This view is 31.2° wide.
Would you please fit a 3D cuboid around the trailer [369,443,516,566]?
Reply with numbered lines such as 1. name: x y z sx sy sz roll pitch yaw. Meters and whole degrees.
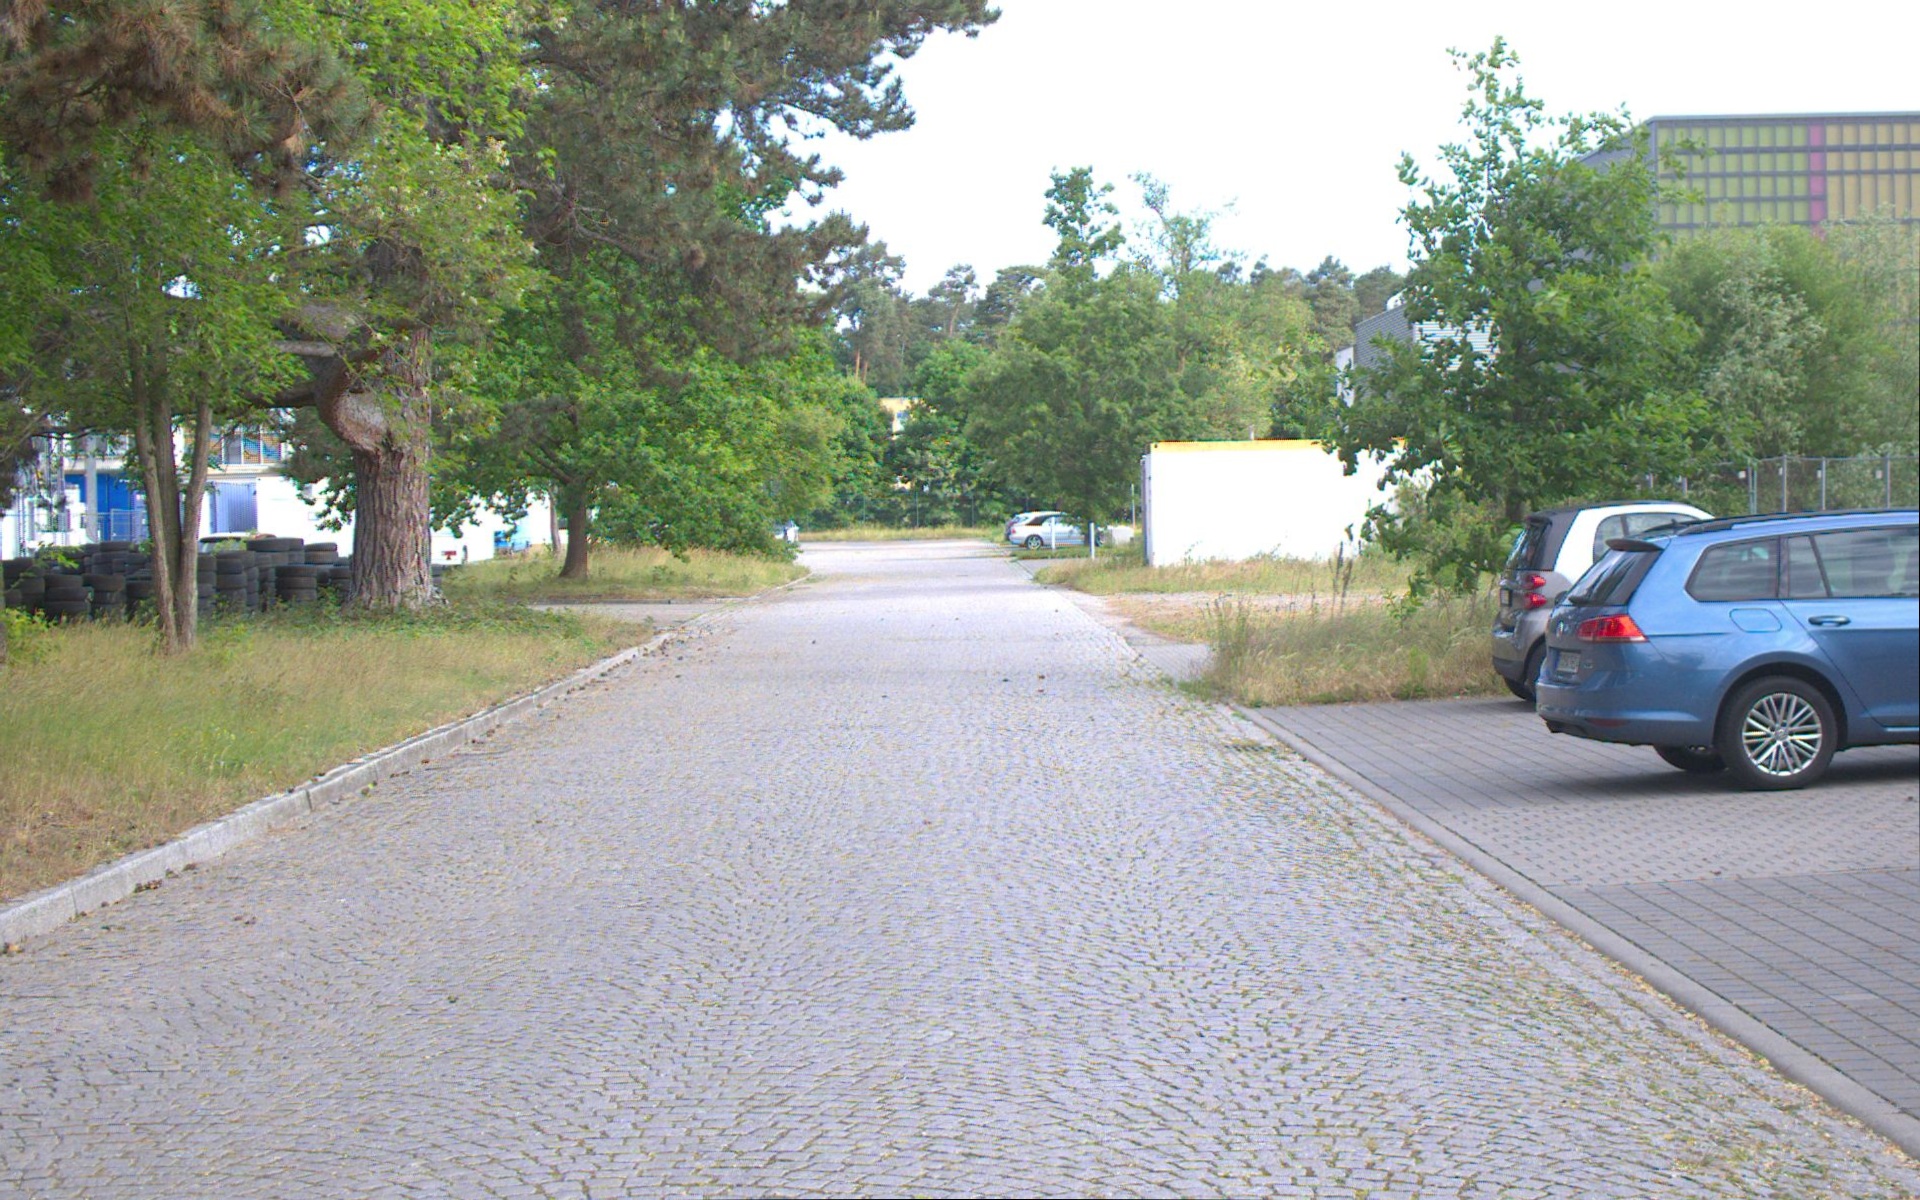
1. trailer: -15.891 -2.937 106.255 2.625 3.585 10.177 -1 2 2

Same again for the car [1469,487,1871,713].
1. car: 5.455 -0.022 26.642 2.710 1.551 1.654 -3 2 1

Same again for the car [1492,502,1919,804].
1. car: 5.447 0.197 19.363 4.490 1.470 1.831 -3 2 -3

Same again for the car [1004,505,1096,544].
1. car: 3.561 -3.008 136.486 3.522 1.357 1.622 -3 1 1

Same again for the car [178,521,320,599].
1. car: -14.074 -0.816 68.257 1.626 1.428 4.063 -1 2 5

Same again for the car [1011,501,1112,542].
1. car: 4.083 -3.196 139.175 3.985 1.443 1.653 -3 1 1
